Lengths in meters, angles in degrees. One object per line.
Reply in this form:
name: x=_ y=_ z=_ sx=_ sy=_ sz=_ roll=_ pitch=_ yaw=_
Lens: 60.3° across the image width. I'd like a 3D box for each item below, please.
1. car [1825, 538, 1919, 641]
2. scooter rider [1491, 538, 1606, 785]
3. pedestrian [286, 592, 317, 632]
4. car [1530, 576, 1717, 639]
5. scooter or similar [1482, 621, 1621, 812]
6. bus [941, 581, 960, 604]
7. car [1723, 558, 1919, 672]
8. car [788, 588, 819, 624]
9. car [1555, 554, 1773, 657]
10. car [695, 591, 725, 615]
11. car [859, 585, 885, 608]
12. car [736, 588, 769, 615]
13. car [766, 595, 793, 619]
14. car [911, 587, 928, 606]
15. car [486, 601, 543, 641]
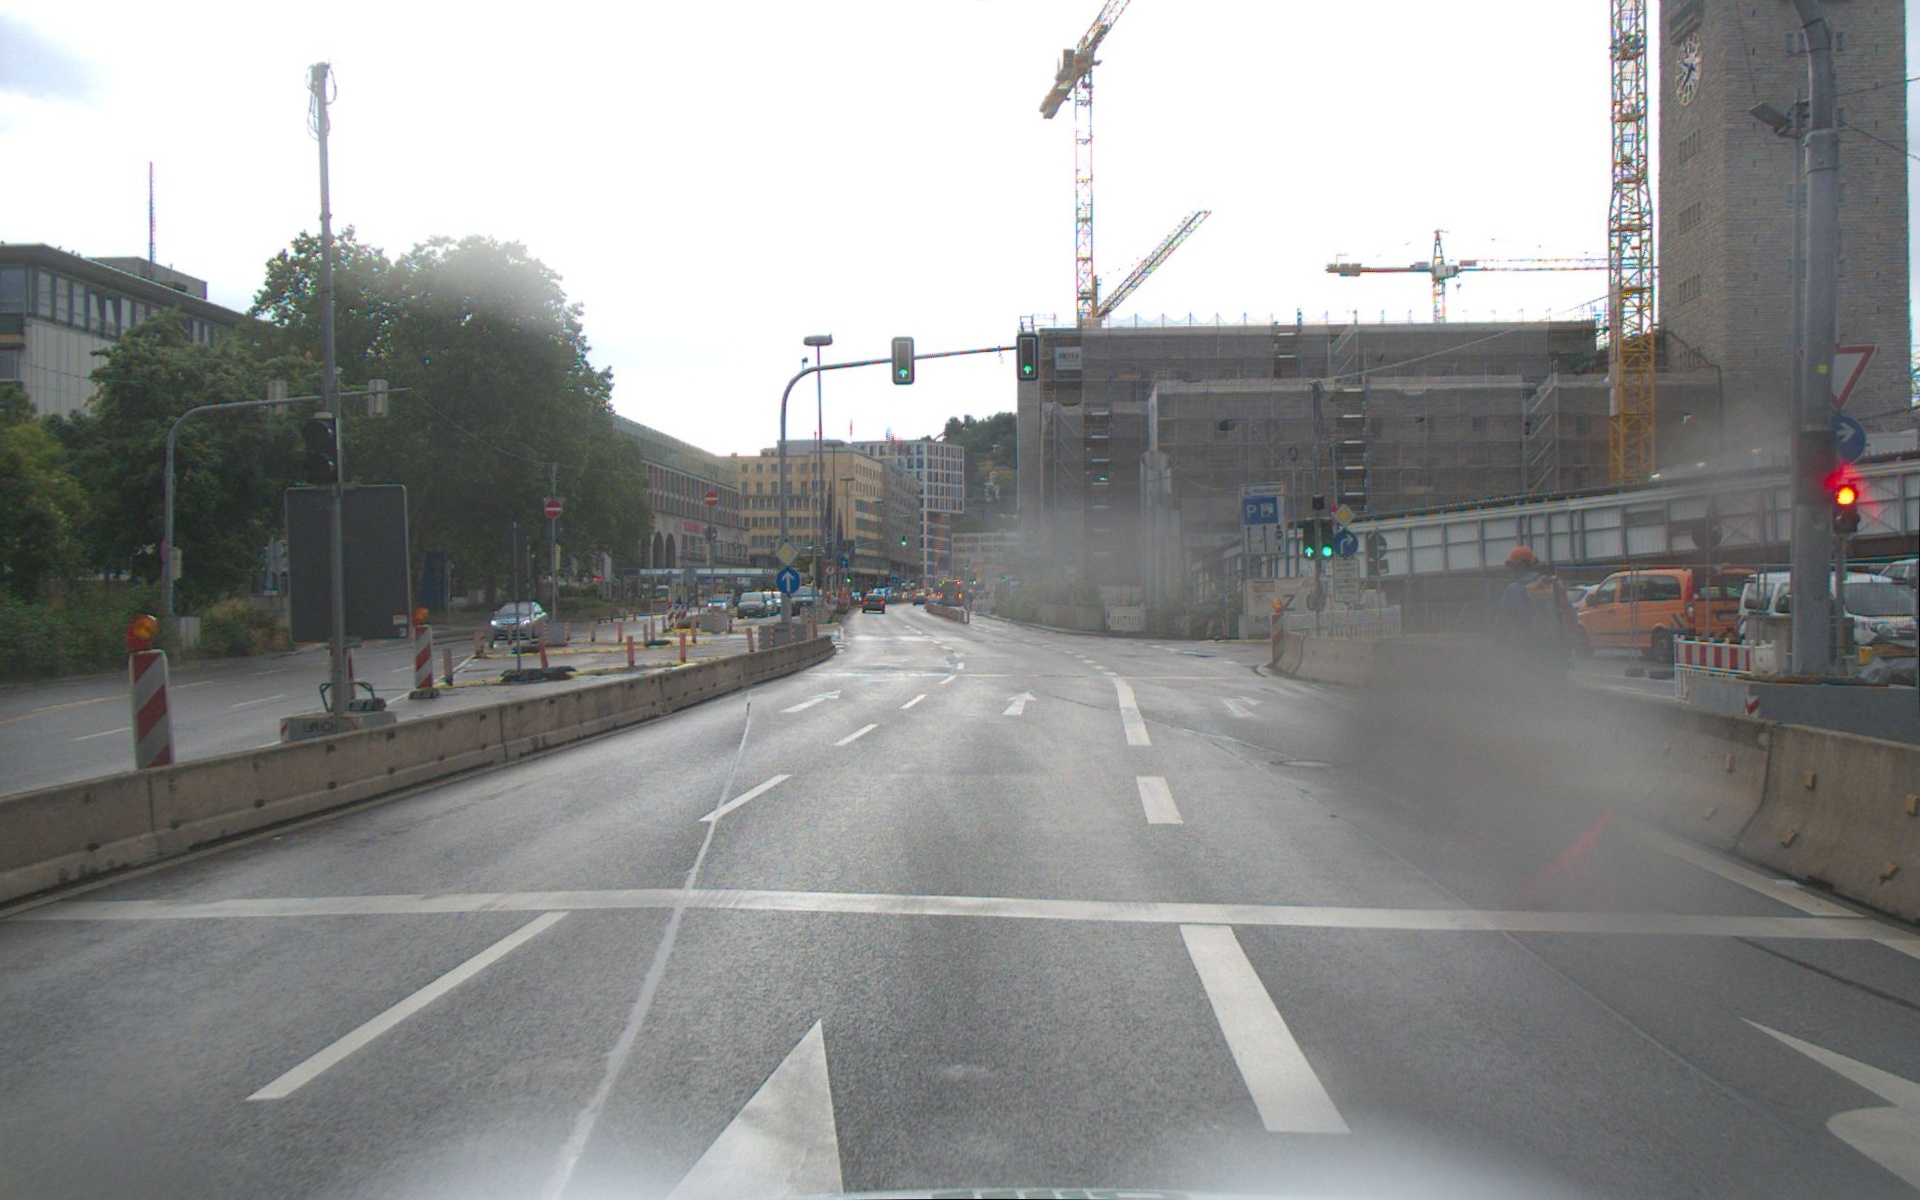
car: x=22.972 y=-0.277 z=38.502 sx=2.007 sy=2.354 sz=5.592 roll=-2 pitch=0 yaw=-10
scooter rider: x=4.494 y=0.454 z=12.676 sx=0.584 sy=1.817 sz=0.998 roll=0 pitch=0 yaw=5
pedestrian: x=-26.286 y=0.486 z=65.997 sx=0.574 sy=1.585 sz=1.114 roll=-3 pitch=-2 yaw=14
car: x=17.159 y=0.178 z=42.860 sx=4.123 sy=1.477 sz=1.812 roll=-2 pitch=1 yaw=-8
scooter or similar: x=4.501 y=0.844 z=12.691 sx=0.584 sy=1.342 sz=1.668 roll=0 pitch=0 yaw=5
bus: x=-1.149 y=-0.895 z=200.911 sx=1.952 sy=2.474 sz=4.001 roll=-2 pitch=-2 yaw=3
car: x=15.649 y=0.181 z=29.144 sx=1.809 sy=1.838 sz=5.083 roll=0 pitch=1 yaw=-3
car: x=-10.119 y=0.406 z=107.114 sx=1.865 sy=2.119 sz=4.172 roll=-2 pitch=-2 yaw=-5
car: x=14.760 y=0.105 z=35.054 sx=1.876 sy=2.010 sz=5.153 roll=0 pitch=0 yaw=-8
car: x=-18.585 y=0.216 z=123.018 sx=1.865 sy=1.555 sz=4.172 roll=-2 pitch=-2 yaw=-5
car: x=-6.834 y=-0.276 z=127.998 sx=1.865 sy=1.555 sz=4.172 roll=-2 pitch=-2 yaw=-5
car: x=-13.369 y=0.110 z=106.673 sx=1.865 sy=1.555 sz=4.172 roll=-2 pitch=-2 yaw=-5
car: x=-13.265 y=0.549 z=121.699 sx=1.865 sy=1.555 sz=4.172 roll=-2 pitch=-2 yaw=-5
car: x=-4.900 y=-0.381 z=199.669 sx=1.953 sy=2.049 sz=3.998 roll=-2 pitch=-2 yaw=-1
car: x=-17.943 y=0.832 z=66.742 sx=1.733 sy=1.488 sz=4.168 roll=-3 pitch=0 yaw=-9
